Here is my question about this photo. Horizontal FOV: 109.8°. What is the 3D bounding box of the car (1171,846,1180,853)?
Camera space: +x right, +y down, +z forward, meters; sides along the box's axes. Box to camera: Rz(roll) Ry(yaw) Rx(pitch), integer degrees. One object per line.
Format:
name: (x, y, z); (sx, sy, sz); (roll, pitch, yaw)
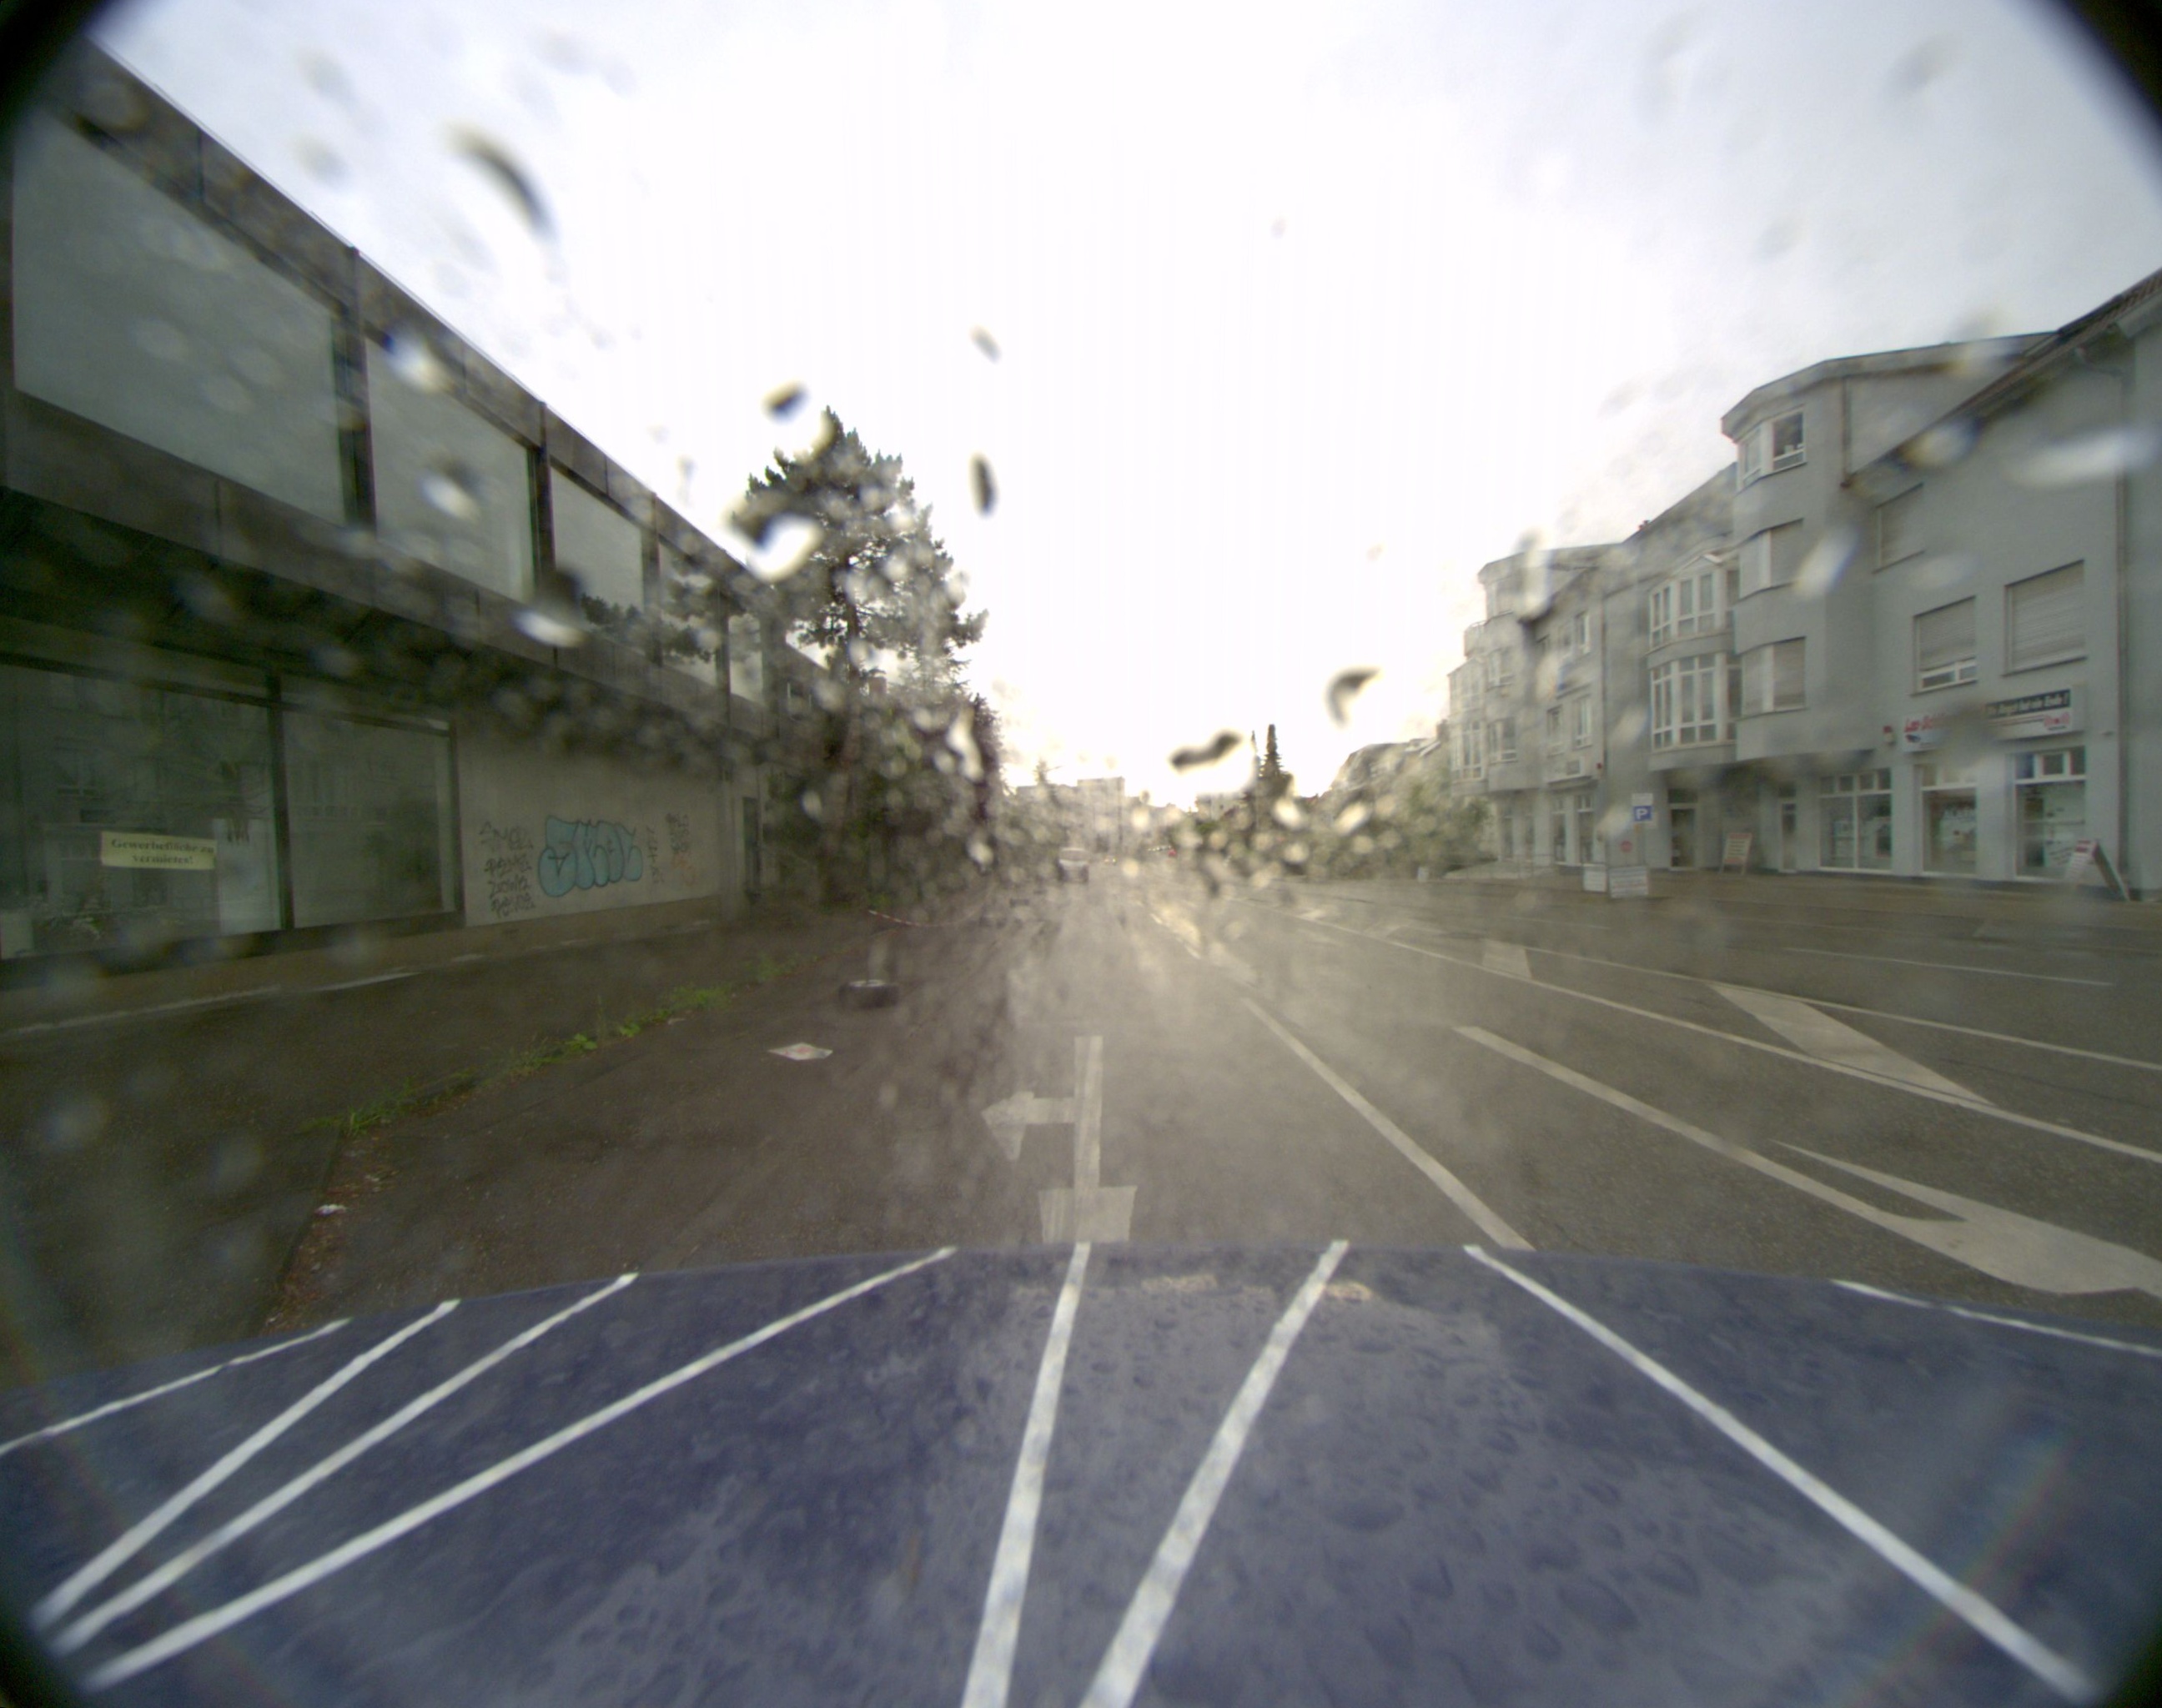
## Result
car: (22.462, -1.026, 180.603); (1.997, 1.606, 4.003); (-1, 0, 11)

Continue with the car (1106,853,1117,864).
car: (5.282, 0.758, 130.642); (1.835, 1.783, 3.838); (-3, 0, 3)

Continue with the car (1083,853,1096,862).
car: (1.484, 0.609, 134.059); (1.912, 1.622, 3.703); (-1, 0, 5)

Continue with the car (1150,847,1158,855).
car: (17.698, -0.731, 184.176); (1.851, 1.870, 4.122); (-1, 0, 5)

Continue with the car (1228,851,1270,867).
car: (17.159, 0.547, 77.718); (4.034, 1.434, 1.813); (-3, 0, 6)

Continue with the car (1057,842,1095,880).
car: (-0.269, 0.431, 51.592); (2.397, 2.417, 6.433); (-1, 0, 1)

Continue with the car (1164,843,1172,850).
car: (24.493, -2.163, 214.532); (1.850, 1.753, 4.124); (-1, 0, 11)

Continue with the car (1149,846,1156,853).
car: (17.985, -1.065, 191.224); (1.851, 1.753, 4.123); (-1, 0, 6)

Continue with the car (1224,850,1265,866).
car: (17.808, 0.481, 82.912); (4.114, 1.536, 2.001); (-3, 0, 6)

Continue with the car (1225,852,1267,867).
car: (17.395, 0.557, 80.201); (4.155, 1.434, 1.891); (-3, 0, 8)
